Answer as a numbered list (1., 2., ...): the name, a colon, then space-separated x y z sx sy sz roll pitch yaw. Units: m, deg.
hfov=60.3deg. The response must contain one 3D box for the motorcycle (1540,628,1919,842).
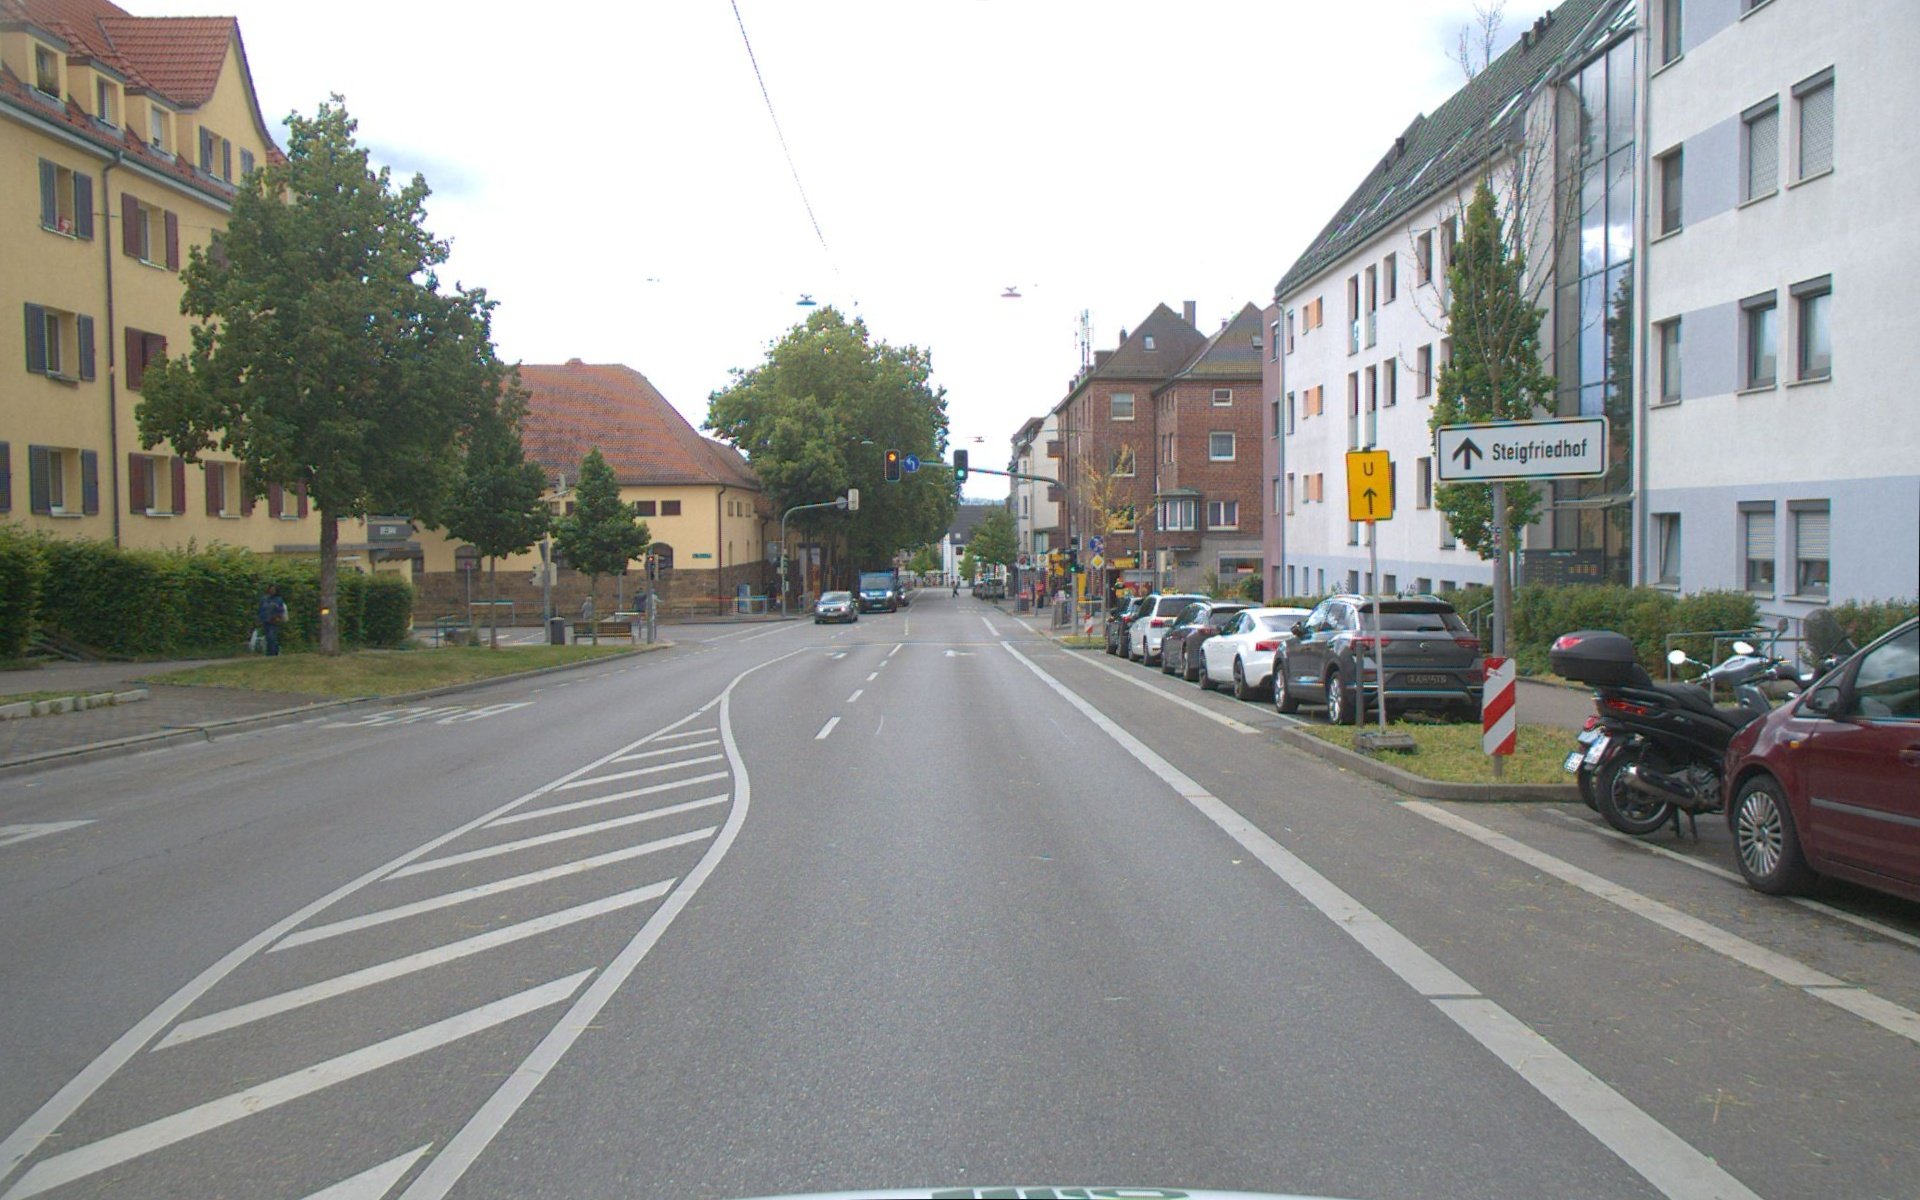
1. motorcycle: 5.179 0.852 10.811 2.547 1.301 0.752 0 0 -5

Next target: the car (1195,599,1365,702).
1. car: 5.018 0.744 26.497 1.695 1.438 4.498 1 1 -2

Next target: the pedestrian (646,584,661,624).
1. pedestrian: -13.839 0.184 74.654 0.552 1.808 0.717 0 0 -1

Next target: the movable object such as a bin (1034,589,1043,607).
1. movable object such as a bin: 4.736 -0.104 99.930 0.443 1.075 0.410 0 0 19

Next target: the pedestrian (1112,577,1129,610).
1. pedestrian: 8.455 -0.346 87.103 0.772 1.685 0.772 -3 0 0

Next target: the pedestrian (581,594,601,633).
1. pedestrian: -15.331 0.558 68.697 0.552 1.594 0.843 0 0 5

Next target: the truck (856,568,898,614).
1. truck: -4.764 -0.536 94.604 2.250 2.469 6.407 -2 1 -3

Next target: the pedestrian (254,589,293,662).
1. pedestrian: -15.635 0.566 37.663 0.627 1.647 0.618 0 0 -2

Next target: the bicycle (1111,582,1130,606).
1. bicycle: 8.429 -0.326 86.745 0.744 1.214 2.391 0 1 -1

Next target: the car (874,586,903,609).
1. car: -4.873 -0.181 112.490 1.668 1.439 4.193 -2 1 1

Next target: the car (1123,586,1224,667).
1. car: 4.954 0.574 38.964 1.625 1.746 4.550 1 1 -2

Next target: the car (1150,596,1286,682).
1. car: 4.949 0.699 32.348 1.710 1.493 4.947 1 1 -2

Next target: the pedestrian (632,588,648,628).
1. pedestrian: -14.583 0.360 75.358 0.552 1.808 0.842 0 0 -1

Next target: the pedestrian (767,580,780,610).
1. pedestrian: -11.018 -0.307 97.519 0.660 1.796 0.725 0 0 0

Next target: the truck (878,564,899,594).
1. truck: -8.143 -2.415 188.651 2.186 3.405 7.448 0 1 -1

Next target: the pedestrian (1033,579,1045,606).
1. pedestrian: 4.787 -0.460 100.157 0.553 1.665 0.681 0 0 19

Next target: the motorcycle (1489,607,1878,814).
1. motorcycle: 5.160 0.761 11.859 2.547 1.404 0.692 0 0 -5

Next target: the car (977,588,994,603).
1. car: 2.710 -0.478 176.594 1.635 1.574 3.754 0 1 -3

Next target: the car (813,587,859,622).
1. car: -5.699 0.203 76.259 1.720 1.498 4.307 -2 1 1

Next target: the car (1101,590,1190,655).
1. car: 4.877 0.576 43.997 1.699 1.616 4.571 1 0 -2

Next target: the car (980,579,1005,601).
1. car: 3.001 -0.966 152.455 1.954 1.969 4.916 0 1 -3

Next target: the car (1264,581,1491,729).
1. car: 5.191 0.625 21.161 1.599 1.679 4.354 1 0 -3

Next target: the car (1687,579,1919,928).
1. car: 5.140 0.691 7.516 1.647 1.571 4.337 0 1 -2

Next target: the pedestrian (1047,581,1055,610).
1. pedestrian: 5.713 -0.280 104.213 0.469 1.796 0.458 0 0 -1

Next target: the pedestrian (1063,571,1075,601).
1. pedestrian: 6.410 -0.840 97.227 0.633 1.780 0.778 0 0 5
